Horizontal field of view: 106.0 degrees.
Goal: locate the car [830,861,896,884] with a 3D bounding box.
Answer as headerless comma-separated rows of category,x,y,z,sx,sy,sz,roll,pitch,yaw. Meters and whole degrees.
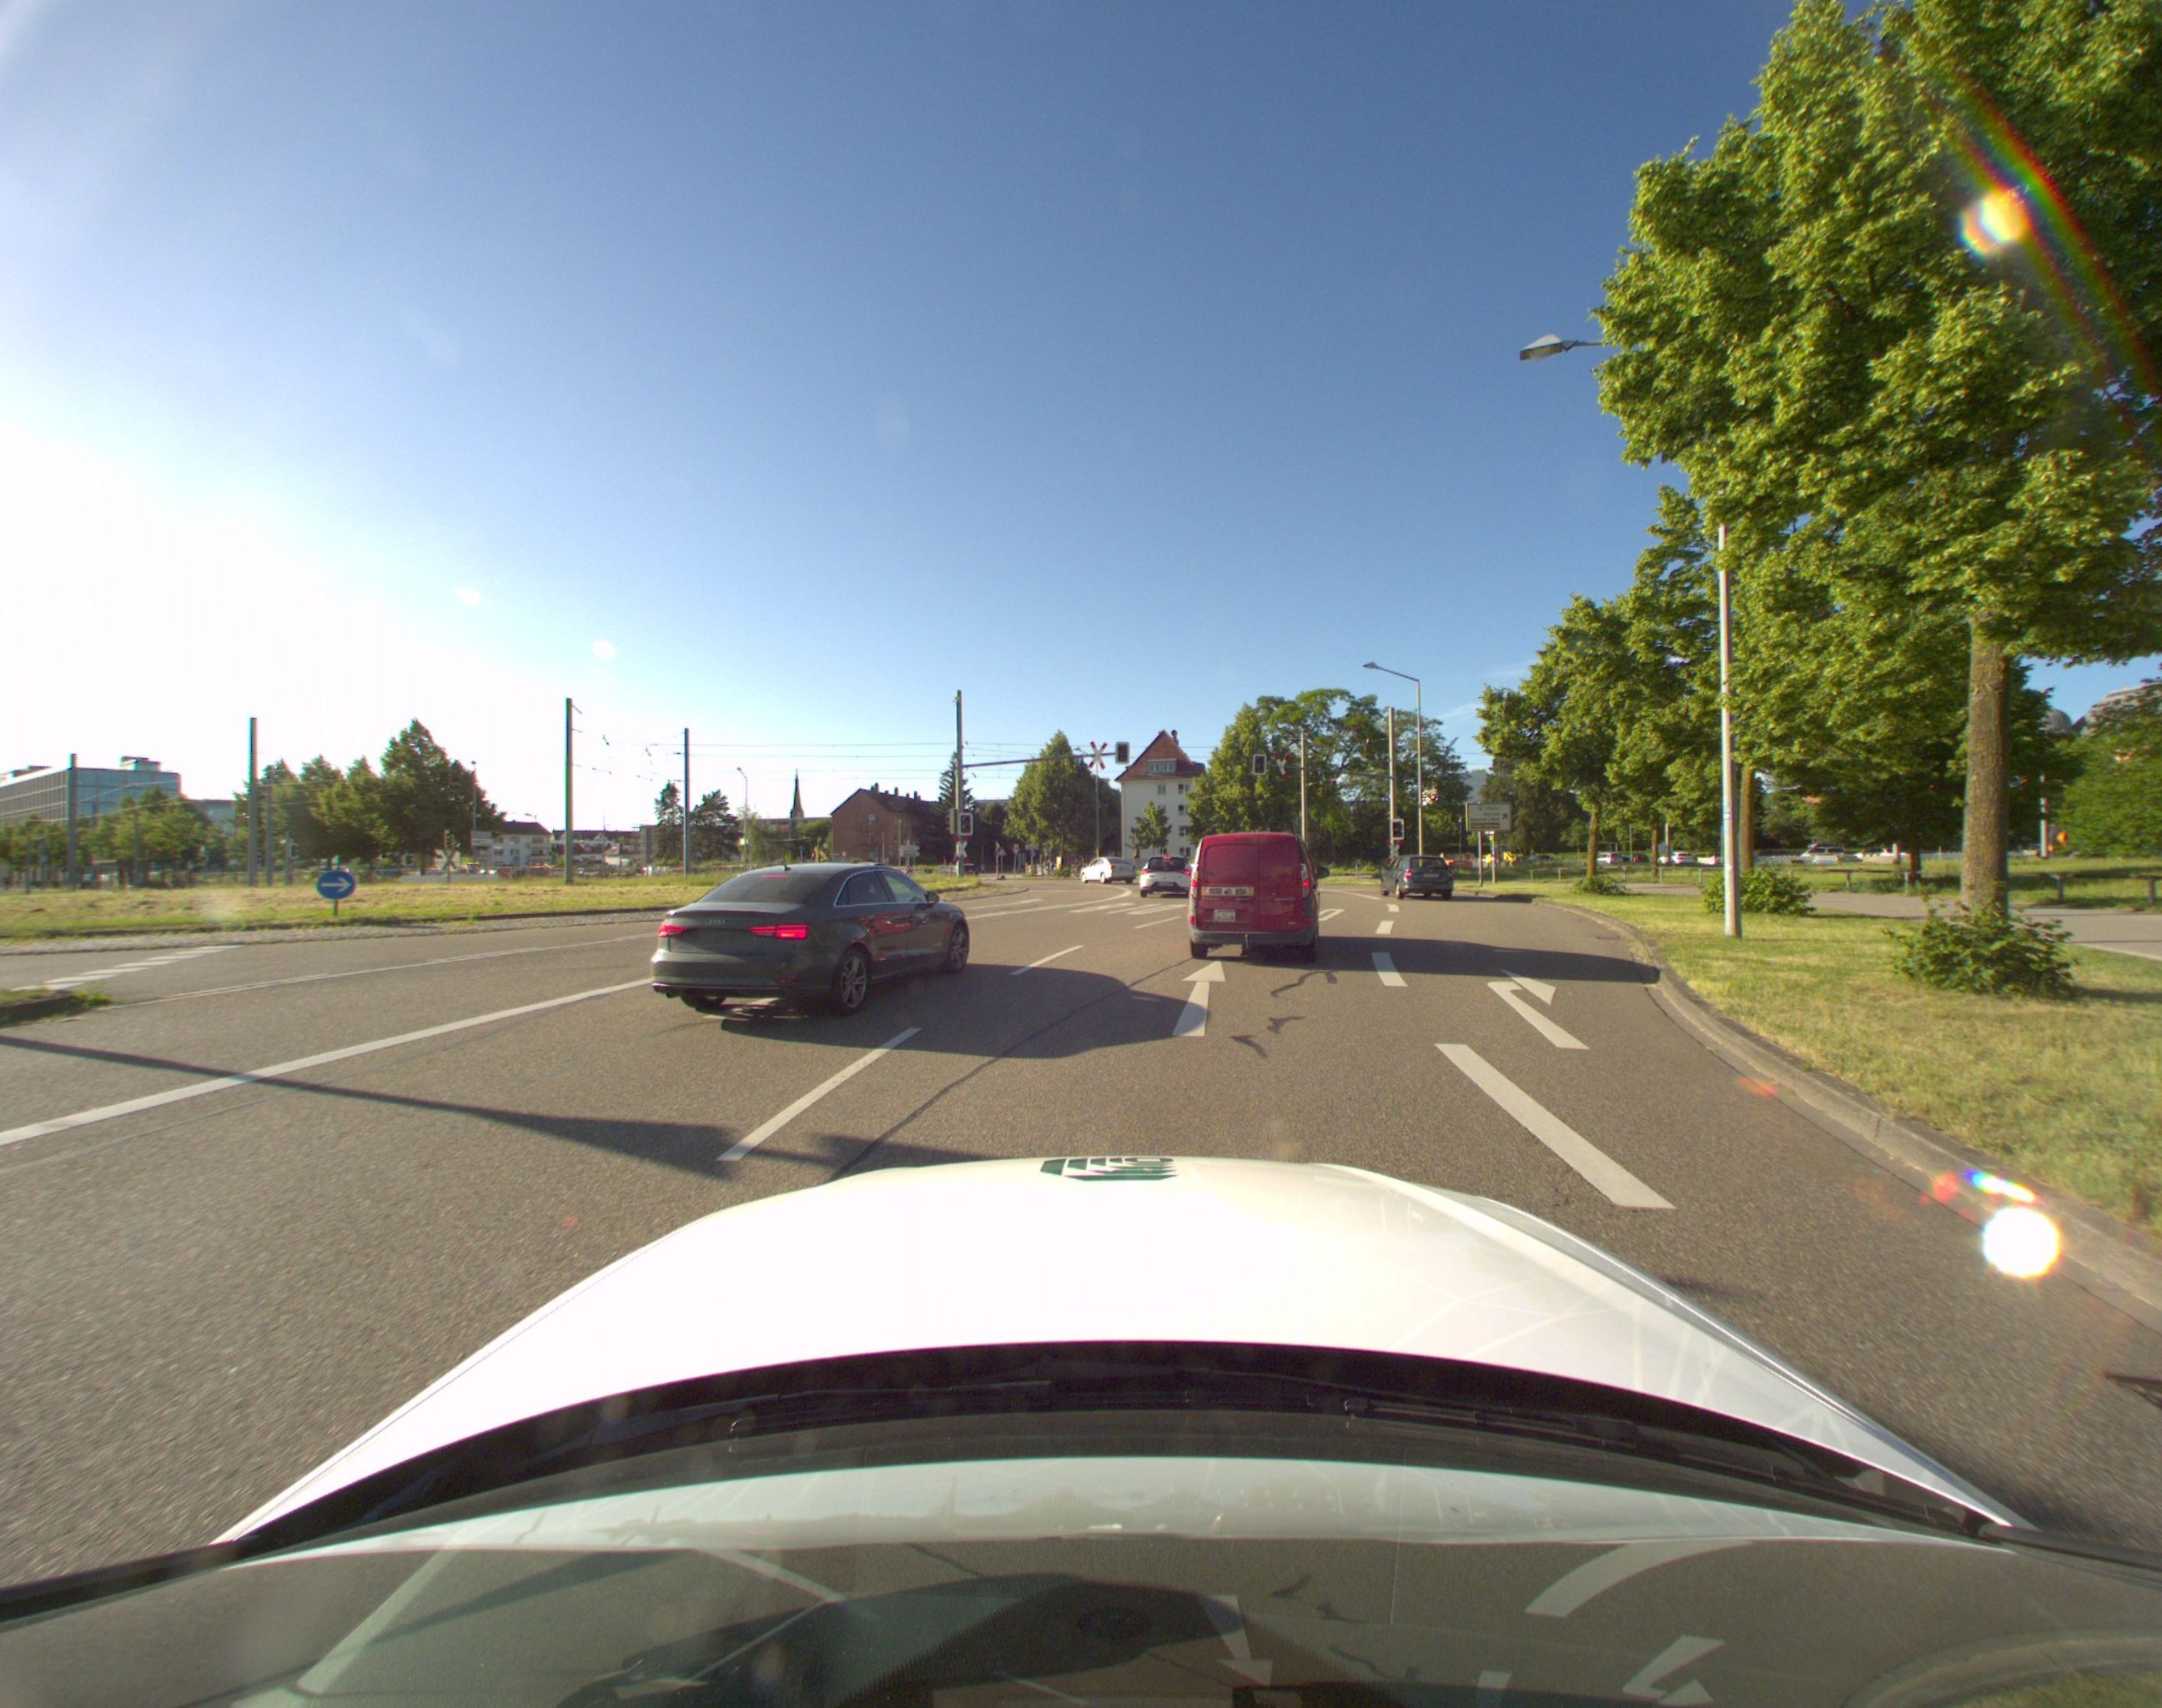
car,-16.333,1.364,60.922,4.357,1.639,2.010,-1,0,20

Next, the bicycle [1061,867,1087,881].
bicycle,-0.617,1.830,73.165,2.181,1.266,0.823,-1,-3,32

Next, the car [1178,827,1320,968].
car,2.729,0.541,12.564,1.789,1.813,3.826,1,0,17

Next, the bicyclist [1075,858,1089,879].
bicyclist,0.119,1.345,74.124,1.013,1.853,0.817,-1,-3,33

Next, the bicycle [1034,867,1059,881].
bicycle,-3.178,1.879,74.832,2.181,1.266,0.890,-1,-3,37

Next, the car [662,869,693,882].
car,-63.547,3.415,128.228,4.443,2.014,2.011,-1,-3,25

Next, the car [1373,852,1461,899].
car,11.149,0.674,27.309,1.704,1.436,4.161,-1,0,8

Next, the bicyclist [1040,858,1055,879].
bicyclist,-3.096,1.350,74.774,1.012,1.853,0.890,-1,-3,37

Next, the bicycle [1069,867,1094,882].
bicycle,0.066,1.872,74.121,2.181,1.266,0.823,-1,-3,32

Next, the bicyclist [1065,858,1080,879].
bicyclist,-0.759,1.306,73.284,1.013,1.853,0.817,-1,-3,33

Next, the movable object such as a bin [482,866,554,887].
movable object such as a bin,-80.113,3.122,116.021,2.905,2.783,7.982,-1,-1,32

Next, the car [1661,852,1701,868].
car,61.218,0.607,83.098,1.815,1.556,3.818,0,-2,11

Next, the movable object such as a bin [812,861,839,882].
movable object such as a bin,-34.368,2.417,109.468,2.436,2.774,3.957,2,-3,-34

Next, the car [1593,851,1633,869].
car,55.172,0.616,84.522,1.981,1.723,4.010,0,-2,9

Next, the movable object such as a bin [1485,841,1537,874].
movable object such as a bin,39.181,0.389,74.280,1.988,2.789,5.044,0,-2,-1

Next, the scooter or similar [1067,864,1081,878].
scooter or similar,-0.626,1.593,75.741,1.248,1.248,0.447,-2,-4,32

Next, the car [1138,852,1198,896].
car,3.129,0.708,28.694,1.791,1.461,3.820,-1,-1,10

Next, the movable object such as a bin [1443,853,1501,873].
movable object such as a bin,40.428,0.944,84.295,4.986,1.948,2.240,0,-2,1

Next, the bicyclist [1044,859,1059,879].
bicyclist,-2.758,1.403,76.084,1.012,1.853,0.890,-1,-3,37

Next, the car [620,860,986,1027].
car,-2.651,0.783,9.044,1.748,1.380,4.374,-1,-1,14

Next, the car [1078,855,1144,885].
car,1.630,0.864,45.565,2.002,1.575,4.374,-1,0,-23

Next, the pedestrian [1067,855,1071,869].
pedestrian,-1.738,1.139,117.377,0.466,2.014,0.457,-1,-1,19

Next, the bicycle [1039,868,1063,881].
bicycle,-2.832,1.931,76.105,2.181,1.266,0.890,-1,-3,37

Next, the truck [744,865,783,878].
truck,-48.144,2.687,123.360,6.352,2.014,2.185,-1,-3,32
